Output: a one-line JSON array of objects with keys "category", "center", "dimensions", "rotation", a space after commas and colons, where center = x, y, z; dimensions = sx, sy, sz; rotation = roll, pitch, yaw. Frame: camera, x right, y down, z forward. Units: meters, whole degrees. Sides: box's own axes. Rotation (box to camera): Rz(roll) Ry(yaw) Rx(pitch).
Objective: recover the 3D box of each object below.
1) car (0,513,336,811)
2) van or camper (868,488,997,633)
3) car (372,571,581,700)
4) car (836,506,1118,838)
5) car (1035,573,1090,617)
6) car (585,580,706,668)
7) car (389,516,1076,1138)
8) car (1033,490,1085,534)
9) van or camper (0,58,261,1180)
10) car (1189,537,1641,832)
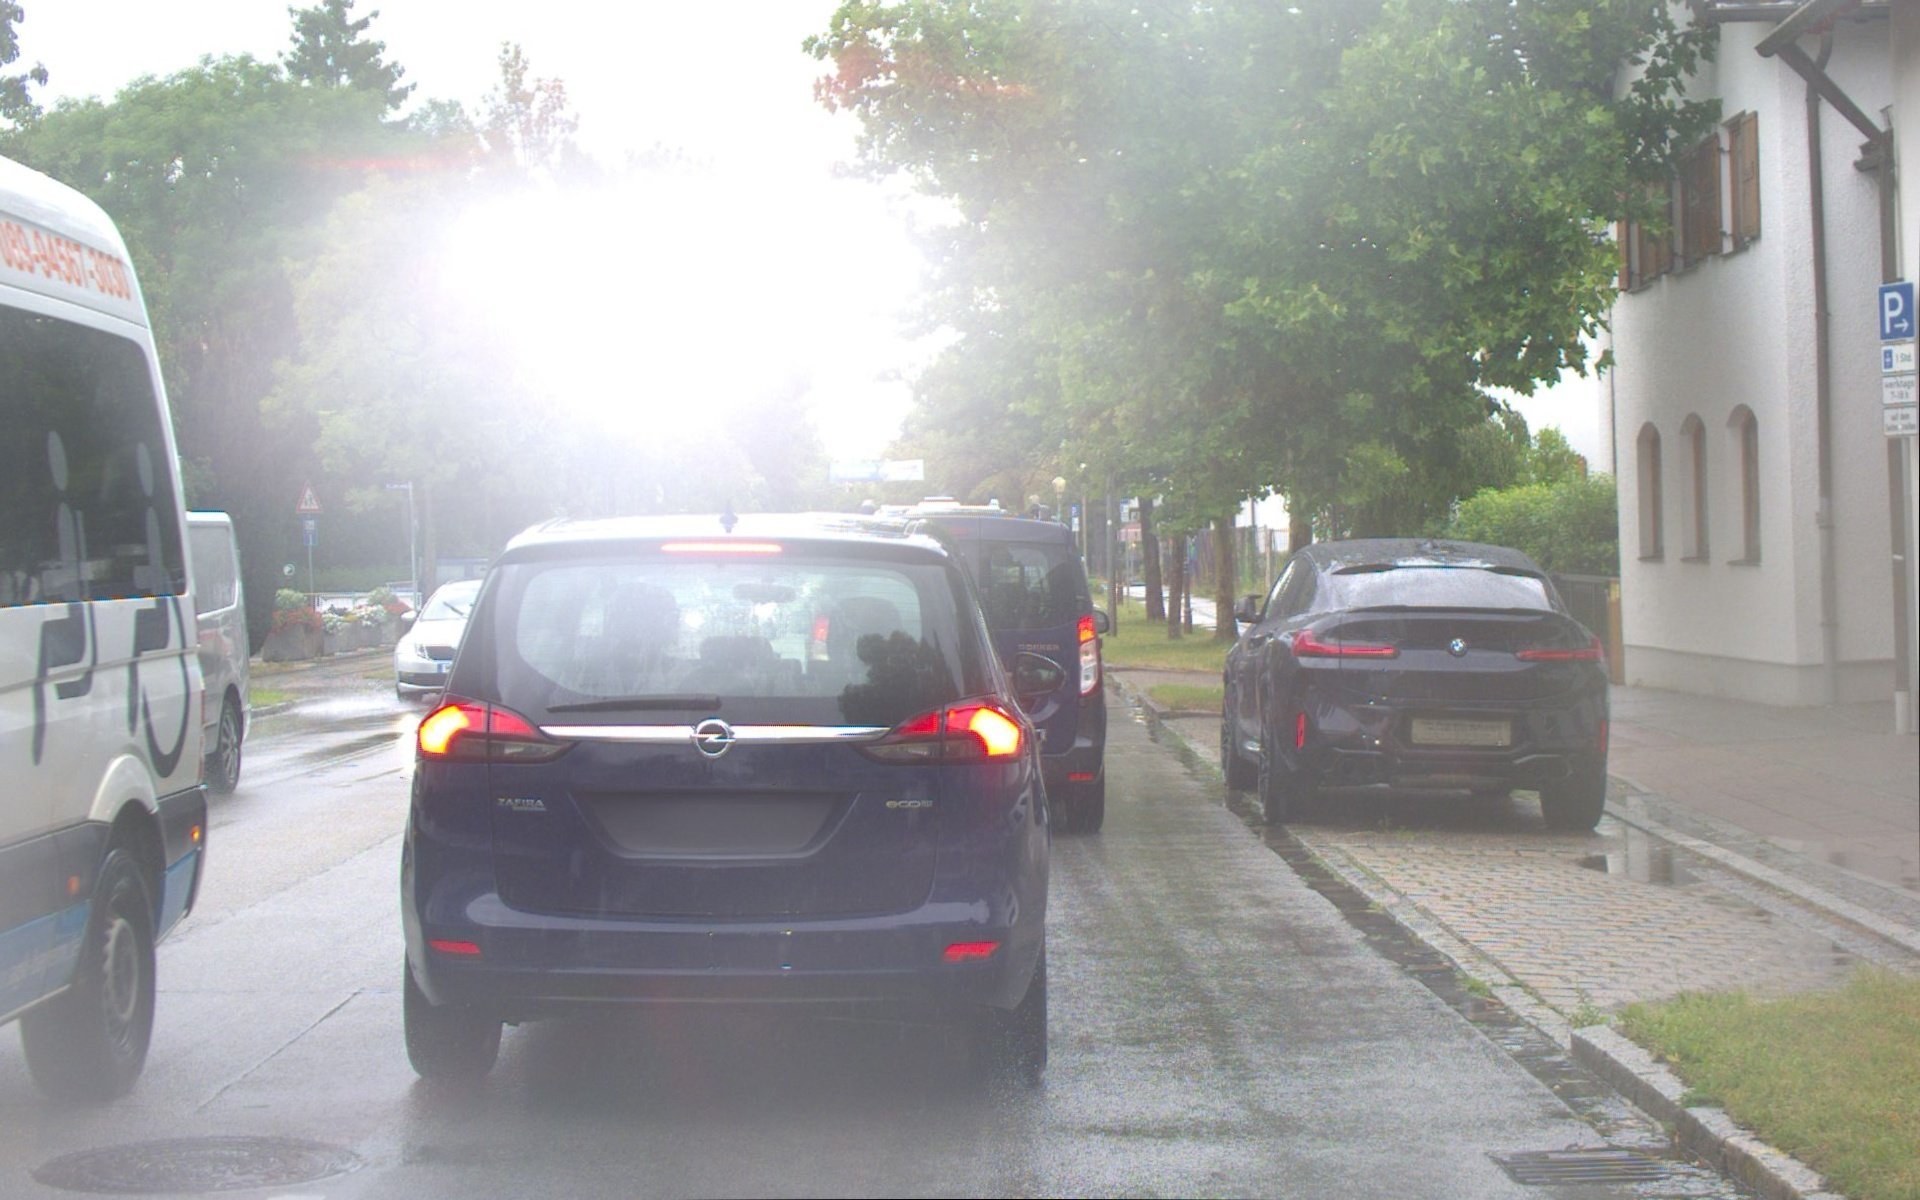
[{"category": "car", "center": [-5.923, 0.398, 25.266], "dimensions": [1.816, 1.885, 5.259], "rotation": [-3, 1, -2]}, {"category": "van or camper", "center": [-0.530, -0.776, 67.396], "dimensions": [2.360, 2.656, 5.372], "rotation": [-1, 1, 0]}, {"category": "car", "center": [-5.726, 0.387, 41.197], "dimensions": [1.778, 1.371, 4.184], "rotation": [-3, 1, 1]}, {"category": "car", "center": [0.089, 0.366, 19.883], "dimensions": [1.500, 1.770, 3.112], "rotation": [0, 1, 0]}, {"category": "car", "center": [3.241, -0.149, 109.150], "dimensions": [1.630, 1.373, 3.623], "rotation": [0, 0, 0]}, {"category": "car", "center": [-5.402, 0.387, 59.445], "dimensions": [1.580, 1.371, 4.184], "rotation": [-3, 1, 1]}, {"category": "car", "center": [-0.594, 0.569, 10.734], "dimensions": [1.768, 1.599, 3.663], "rotation": [0, 1, 0]}, {"category": "car", "center": [3.394, -3.030, 118.566], "dimensions": [1.630, 1.373, 3.623], "rotation": [-2, 0, 0]}, {"category": "van or camper", "center": [-3.360, 0.058, 7.964], "dimensions": [2.094, 2.698, 6.269], "rotation": [-1, 1, 0]}, {"category": "car", "center": [2.586, 0.445, 20.505], "dimensions": [2.117, 1.576, 3.936], "rotation": [0, 0, -1]}]
